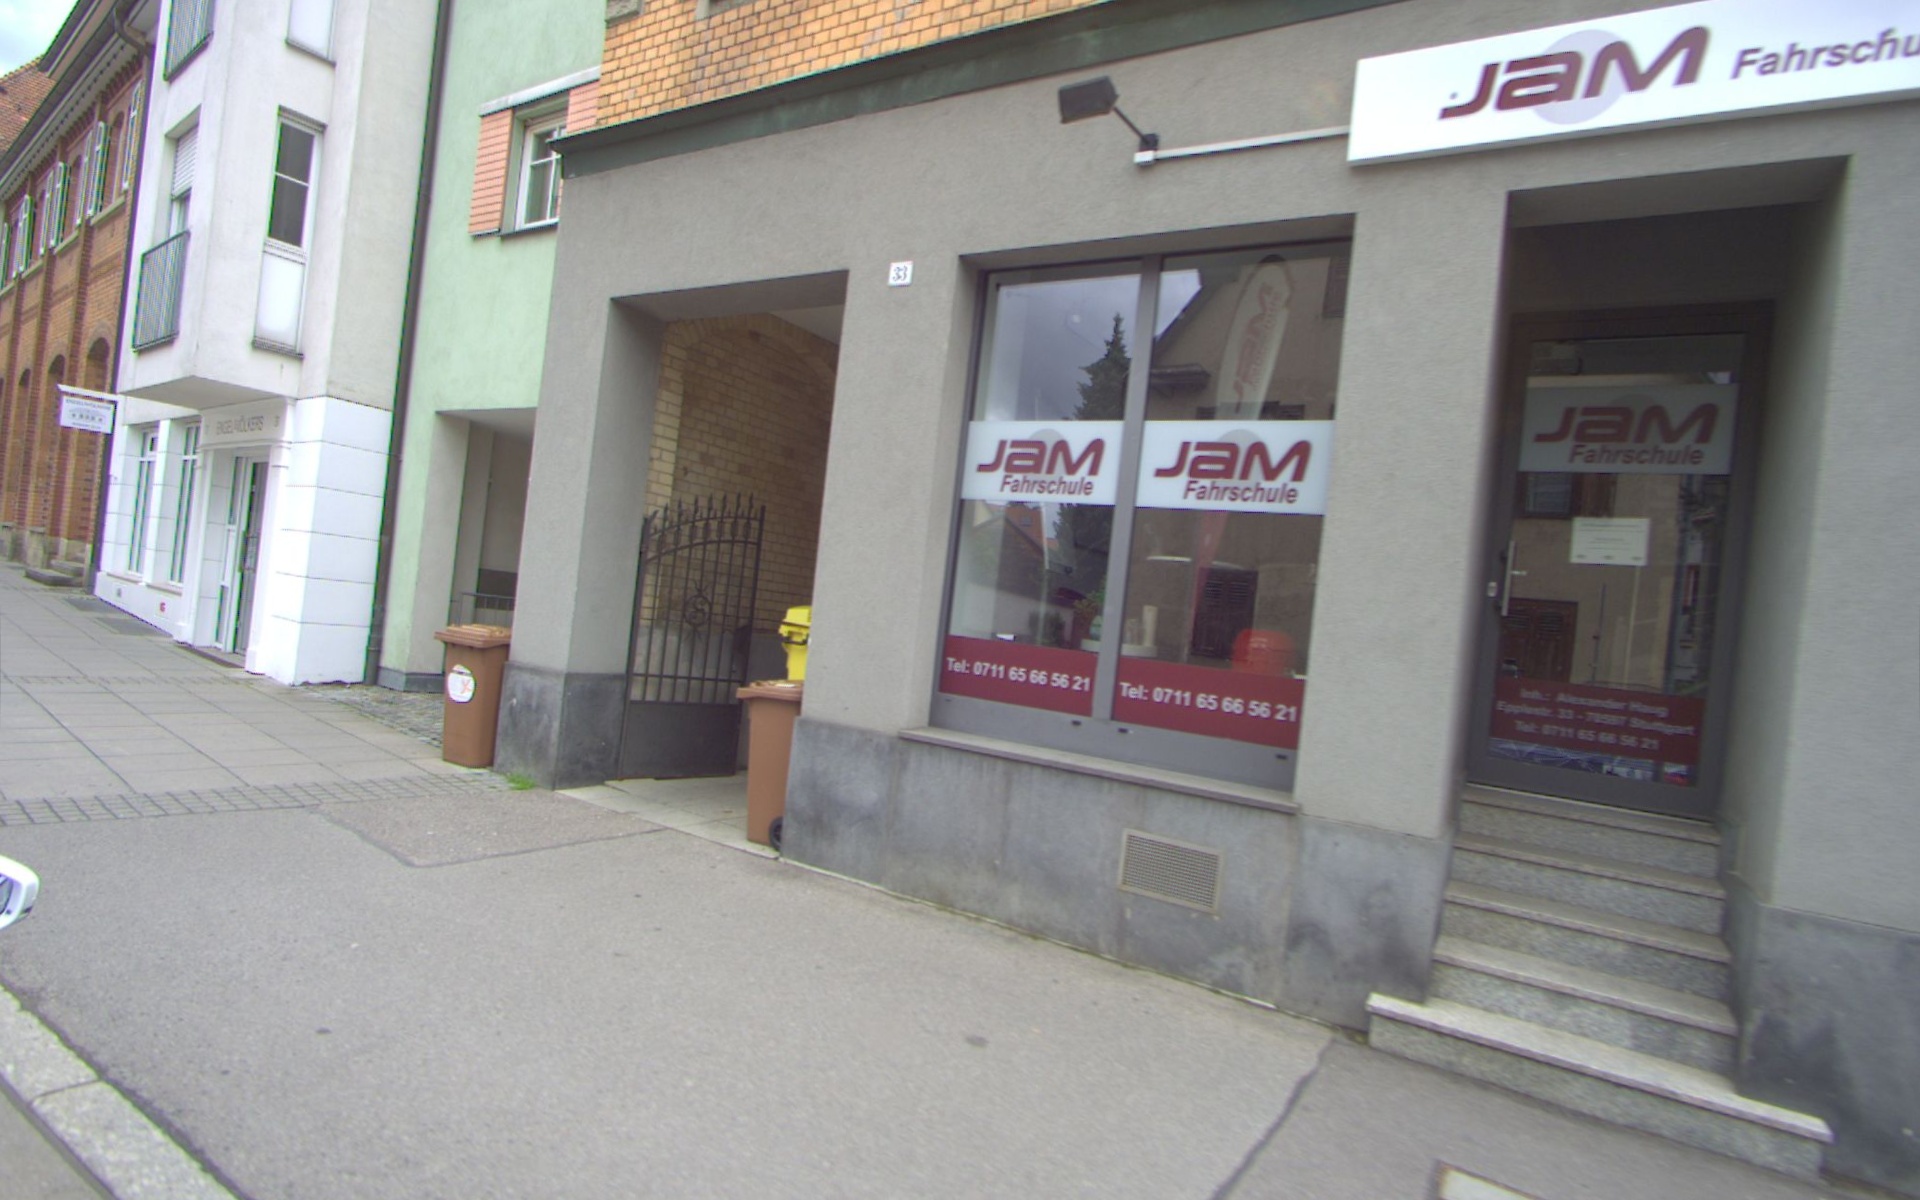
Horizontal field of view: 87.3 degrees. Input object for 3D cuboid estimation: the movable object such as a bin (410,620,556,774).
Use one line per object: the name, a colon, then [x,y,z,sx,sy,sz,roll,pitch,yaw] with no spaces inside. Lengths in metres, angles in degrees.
movable object such as a bin: [-3.250,0.649,6.867,0.572,0.932,0.620,7,1,36]

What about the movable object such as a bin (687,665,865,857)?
movable object such as a bin: [-1.073,0.905,5.881,0.727,0.945,0.580,7,1,34]

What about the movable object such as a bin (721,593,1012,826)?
movable object such as a bin: [-0.615,0.735,7.181,1.140,1.330,1.672,7,0,34]
